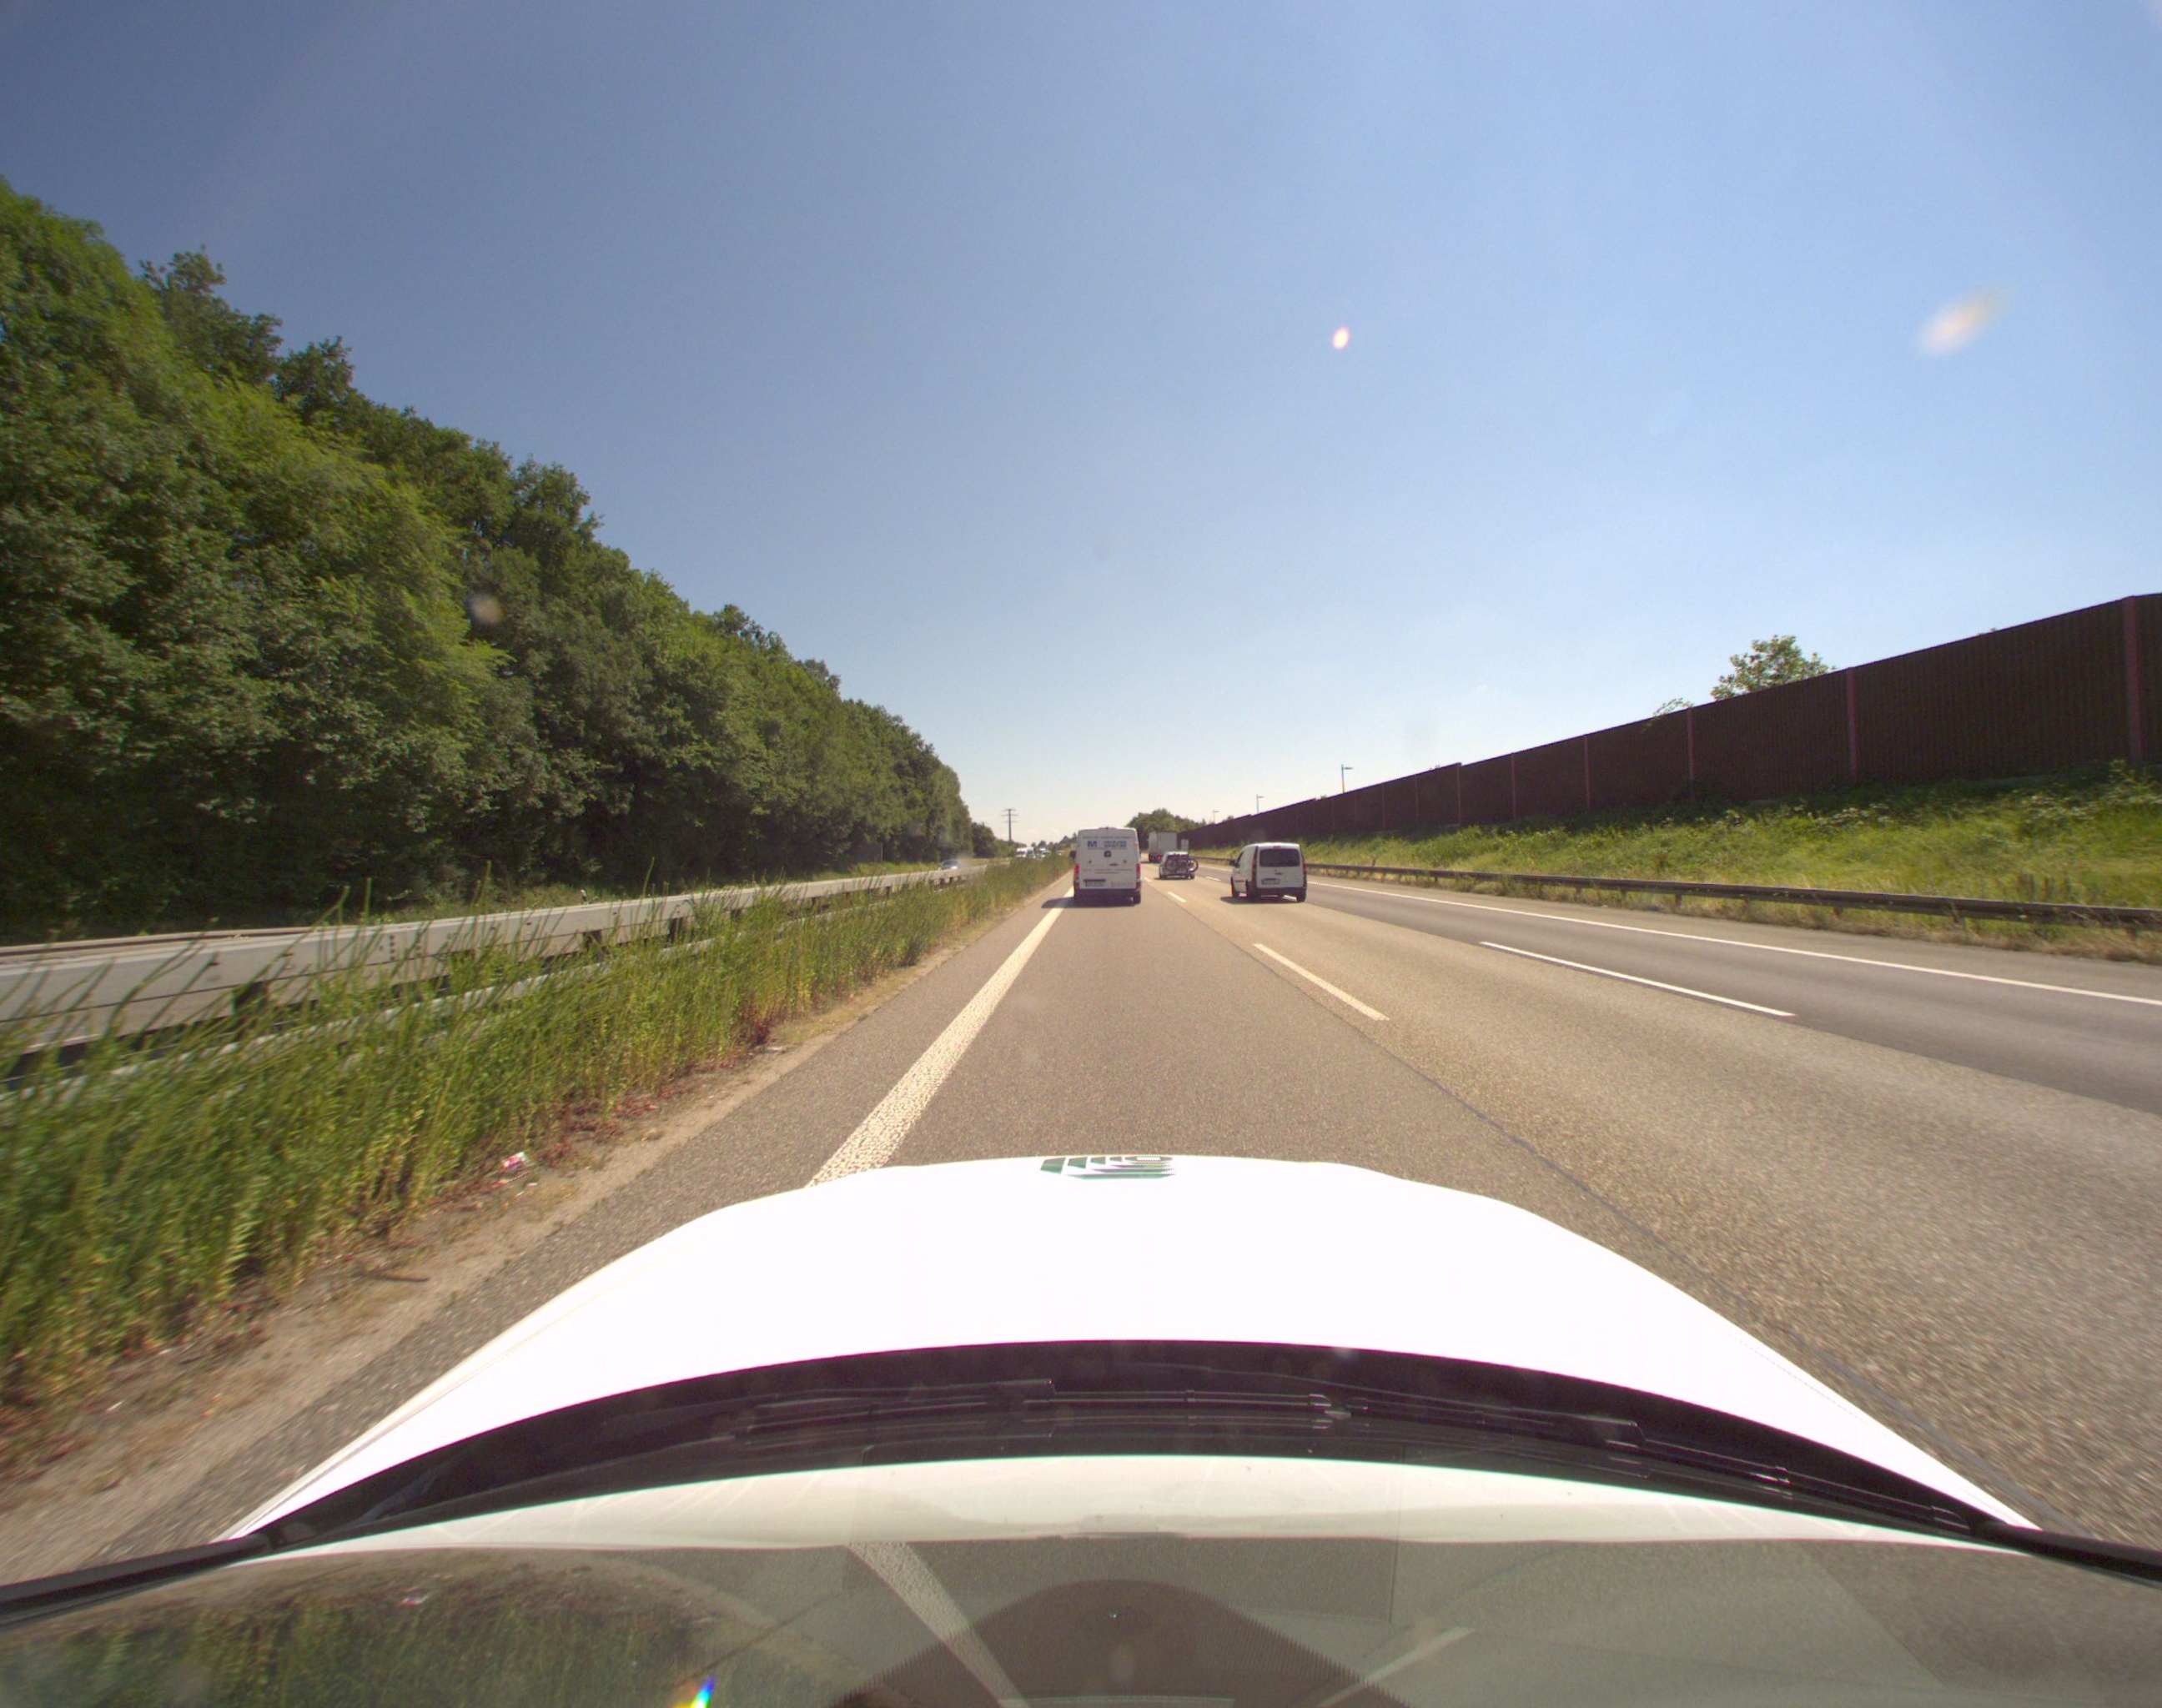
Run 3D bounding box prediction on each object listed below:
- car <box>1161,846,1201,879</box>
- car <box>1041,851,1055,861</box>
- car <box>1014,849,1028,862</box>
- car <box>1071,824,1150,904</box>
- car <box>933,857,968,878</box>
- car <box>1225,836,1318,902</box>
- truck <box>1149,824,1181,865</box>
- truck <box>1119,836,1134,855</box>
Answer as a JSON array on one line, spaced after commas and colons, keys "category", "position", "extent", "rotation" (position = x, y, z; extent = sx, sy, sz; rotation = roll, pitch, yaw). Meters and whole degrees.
[{"category": "car", "position": [5.610, 0.478, 46.016], "extent": [1.967, 1.733, 4.092], "rotation": [-2, -1, 3]}, {"category": "car", "position": [-5.805, 0.391, 142.594], "extent": [1.986, 1.587, 4.427], "rotation": [-3, 0, 2]}, {"category": "car", "position": [-11.717, 0.215, 159.215], "extent": [2.116, 2.339, 5.086], "rotation": [-3, 0, 2]}, {"category": "car", "position": [0.791, 0.318, 25.715], "extent": [2.176, 2.254, 5.359], "rotation": [0, -1, -1]}, {"category": "car", "position": [-10.883, 1.083, 68.211], "extent": [1.986, 1.519, 4.723], "rotation": [-3, 0, 2]}, {"category": "car", "position": [5.950, 0.463, 25.931], "extent": [1.944, 1.838, 4.178], "rotation": [-2, -1, 0]}, {"category": "truck", "position": [10.912, -1.096, 107.221], "extent": [3.772, 5.000, 12.530], "rotation": [0, -1, 4]}, {"category": "truck", "position": [12.212, -2.179, 218.618], "extent": [3.772, 5.000, 12.530], "rotation": [0, -1, 4]}]
